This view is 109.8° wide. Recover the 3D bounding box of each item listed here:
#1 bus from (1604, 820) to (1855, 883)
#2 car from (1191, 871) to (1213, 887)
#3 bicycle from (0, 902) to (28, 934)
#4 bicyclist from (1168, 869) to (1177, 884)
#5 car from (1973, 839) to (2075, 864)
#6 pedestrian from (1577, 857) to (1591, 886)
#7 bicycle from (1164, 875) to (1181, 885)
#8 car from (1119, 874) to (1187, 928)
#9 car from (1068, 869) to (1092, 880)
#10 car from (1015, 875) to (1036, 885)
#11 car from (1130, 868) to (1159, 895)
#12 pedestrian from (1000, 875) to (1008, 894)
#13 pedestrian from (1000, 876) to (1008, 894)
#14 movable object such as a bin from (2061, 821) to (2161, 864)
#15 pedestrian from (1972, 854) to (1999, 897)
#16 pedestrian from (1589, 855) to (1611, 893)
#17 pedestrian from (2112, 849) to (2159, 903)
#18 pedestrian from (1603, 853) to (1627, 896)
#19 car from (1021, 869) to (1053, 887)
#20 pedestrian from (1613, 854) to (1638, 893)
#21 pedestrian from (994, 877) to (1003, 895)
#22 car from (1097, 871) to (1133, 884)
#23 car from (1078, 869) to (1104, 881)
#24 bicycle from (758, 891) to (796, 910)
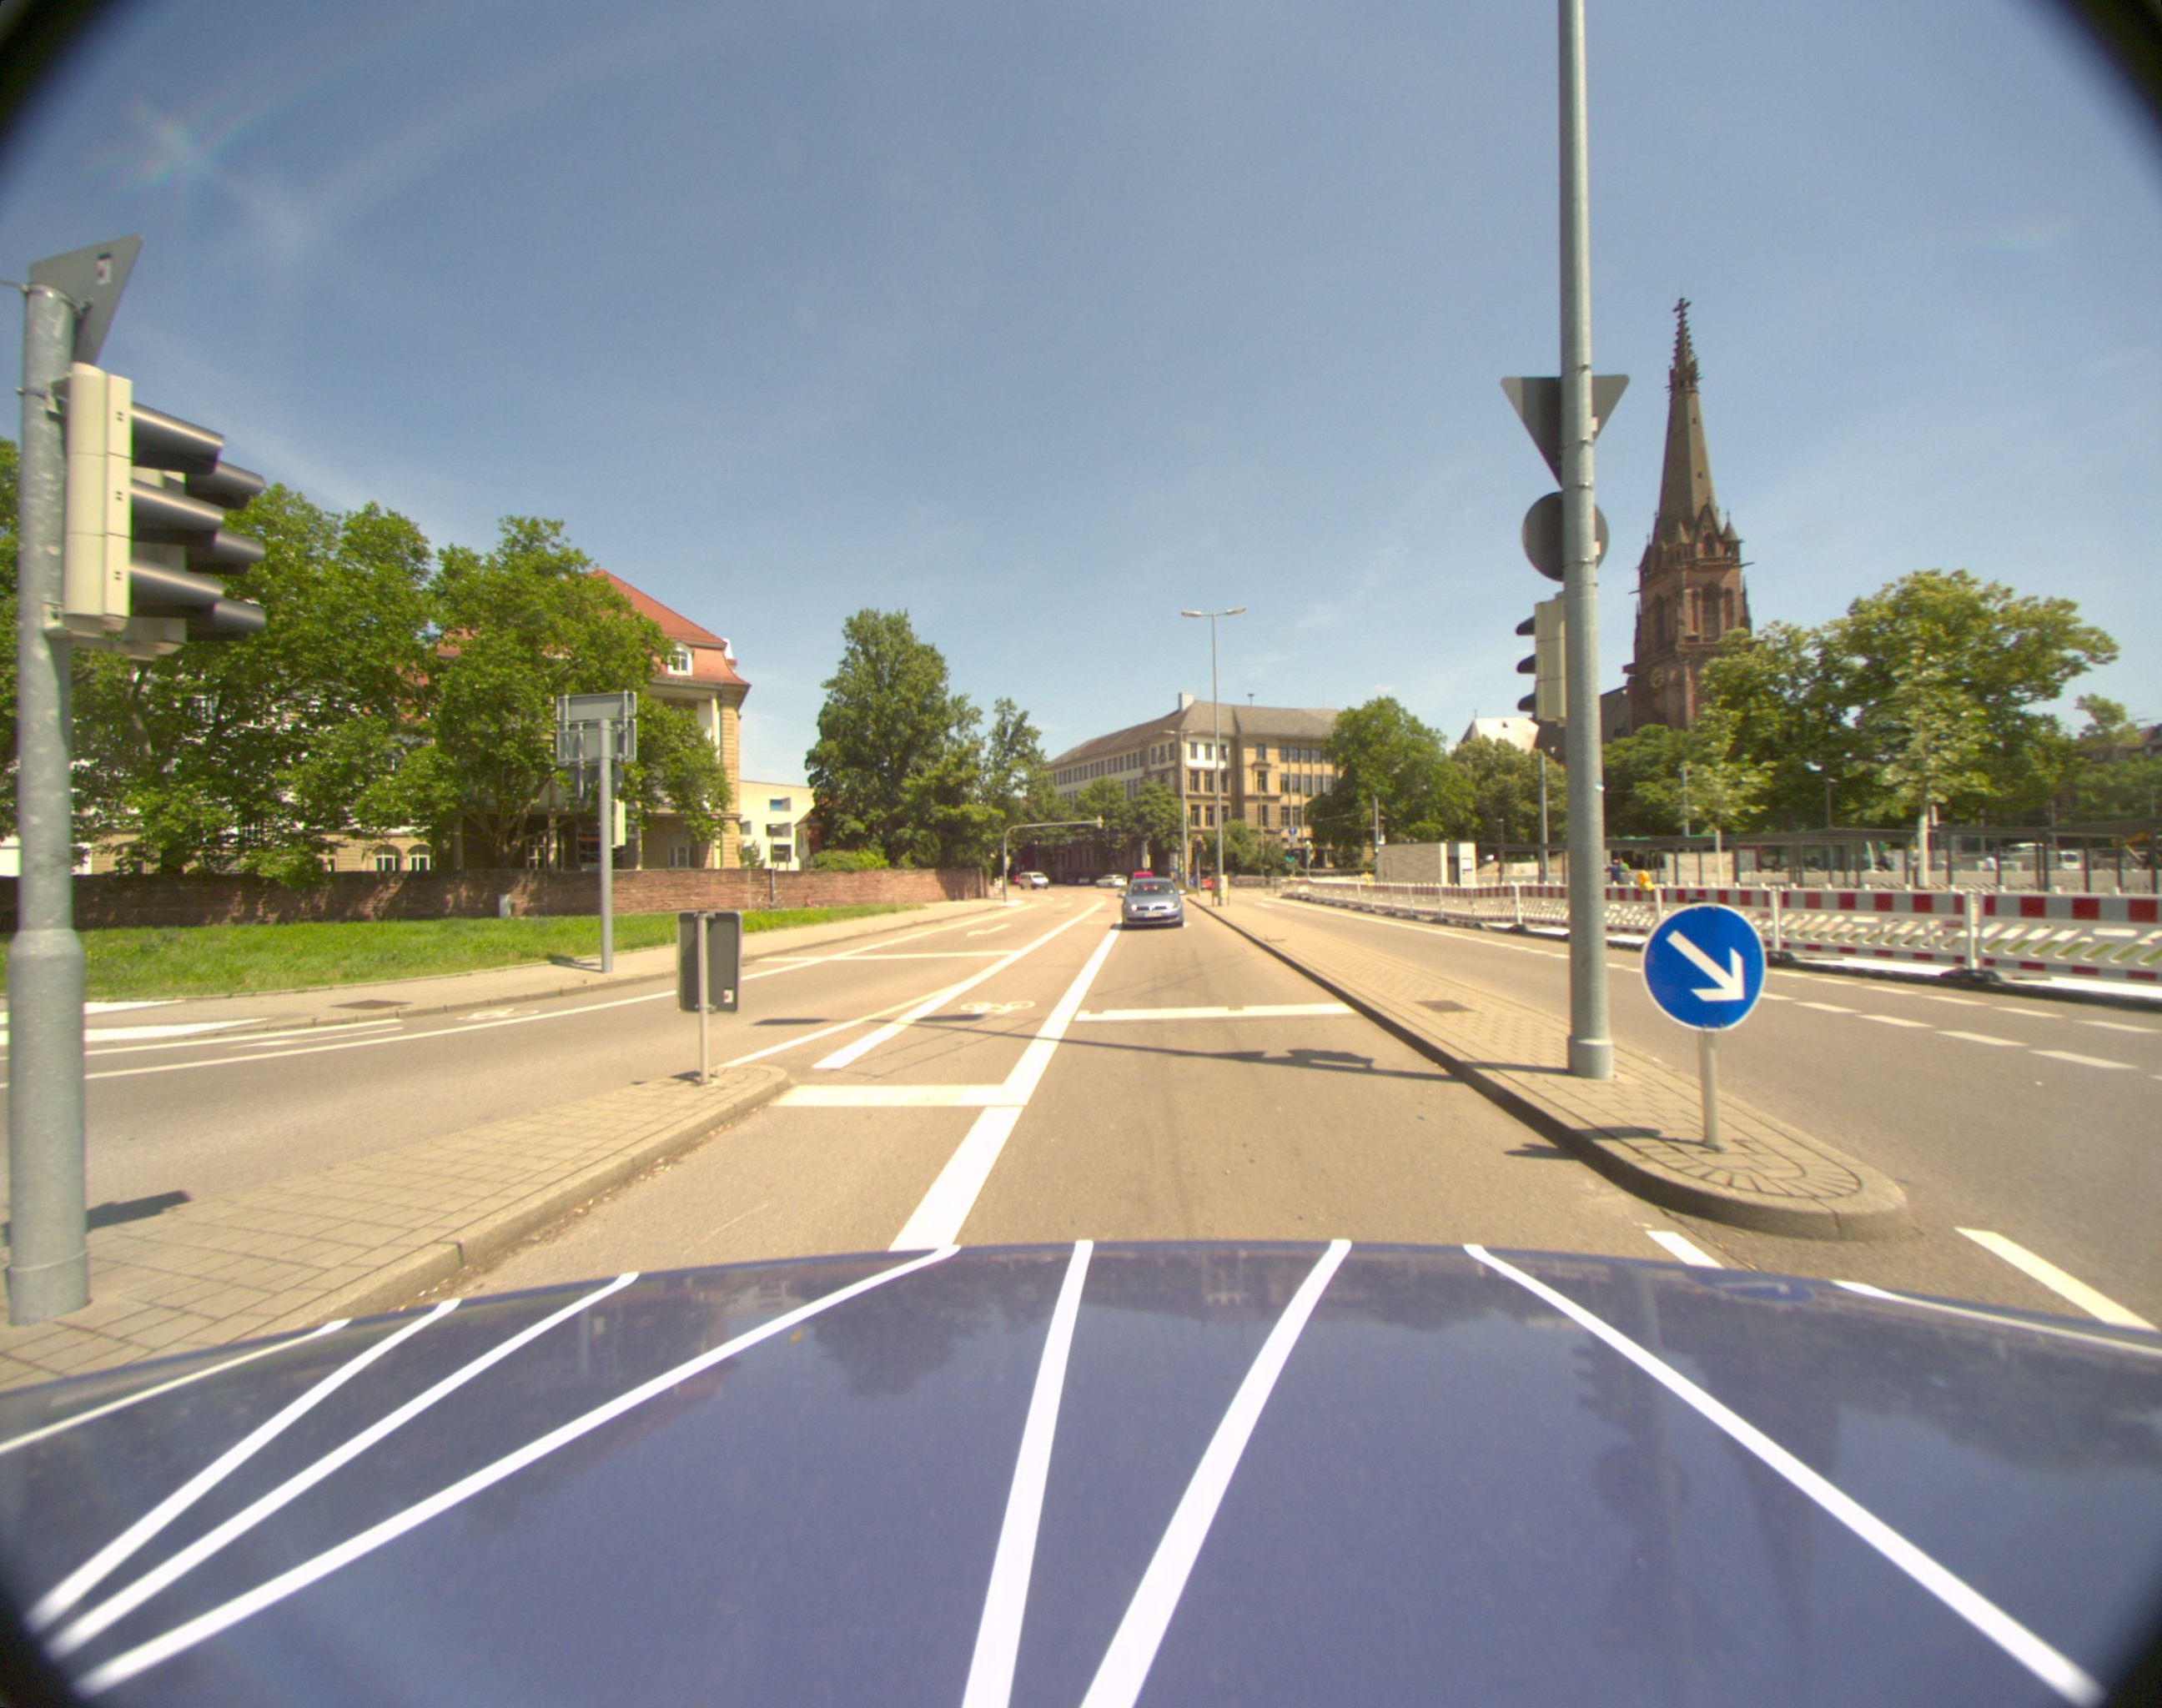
[{"bbox_3d":[36.907,0.005,44.007,2.859,3.035,10.583,-3,-1,-28],"label":"bus"},{"bbox_3d":[11.053,2.258,69.603,1.691,1.369,4.016,0,-1,5],"label":"car"},{"bbox_3d":[-42.360,2.521,29.255,2.172,1.175,0.457,-3,-1,-23],"label":"bicycle"},{"bbox_3d":[10.202,2.534,85.160,0.588,1.655,0.797,1,-1,-42],"label":"bicyclist"},{"bbox_3d":[68.427,-0.152,55.234,1.783,1.592,4.242,-3,-1,-9],"label":"car"},{"bbox_3d":[29.882,1.020,45.154,0.564,1.691,0.582,-4,-1,41],"label":"pedestrian"},{"bbox_3d":[10.264,2.917,85.078,0.591,1.143,2.004,1,-1,-41],"label":"bicycle"},{"bbox_3d":[2.165,1.363,22.950,1.831,1.406,3.996,-1,-1,5],"label":"car"},{"bbox_3d":[-0.146,3.006,110.155,1.568,1.454,3.156,-4,-1,43],"label":"car"},{"bbox_3d":[-9.259,4.294,127.245,1.611,1.444,3.586,-4,-1,32],"label":"car"},{"bbox_3d":[4.588,1.925,54.322,1.831,1.755,4.282,-3,-1,6],"label":"car"},{"bbox_3d":[-7.114,2.832,70.370,0.606,1.702,0.557,2,-3,-28],"label":"pedestrian"},{"bbox_3d":[-6.939,2.787,68.590,0.606,1.601,0.557,2,-3,-26],"label":"pedestrian"},{"bbox_3d":[87.918,-0.976,62.790,2.909,3.368,7.970,-3,-1,-11],"label":"movable object such as a bin"},{"bbox_3d":[39.274,0.939,32.982,0.700,1.846,0.605,-3,-1,-34],"label":"pedestrian"},{"bbox_3d":[24.546,0.957,35.928,0.542,1.745,0.658,-3,-1,-40],"label":"pedestrian"},{"bbox_3d":[40.272,0.844,29.021,0.697,2.001,0.877,-3,-1,-26],"label":"pedestrian"},{"bbox_3d":[24.194,0.919,34.413,0.694,1.894,0.575,-3,-1,-31],"label":"pedestrian"},{"bbox_3d":[-5.245,2.832,89.579,1.712,1.852,4.251,-3,-1,-34],"label":"car"},{"bbox_3d":[25.177,0.905,35.145,0.646,1.778,0.636,-3,-1,-30],"label":"pedestrian"},{"bbox_3d":[-7.176,2.770,65.999,0.606,1.601,0.557,2,-3,-26],"label":"pedestrian"},{"bbox_3d":[3.894,2.676,87.452,1.825,1.419,4.416,1,-1,-33],"label":"car"},{"bbox_3d":[1.482,2.950,107.673,1.568,1.411,3.559,-4,-1,44],"label":"car"},{"bbox_3d":[-16.874,2.552,42.211,1.778,0.922,0.678,-2,-1,-40],"label":"bicycle"}]
